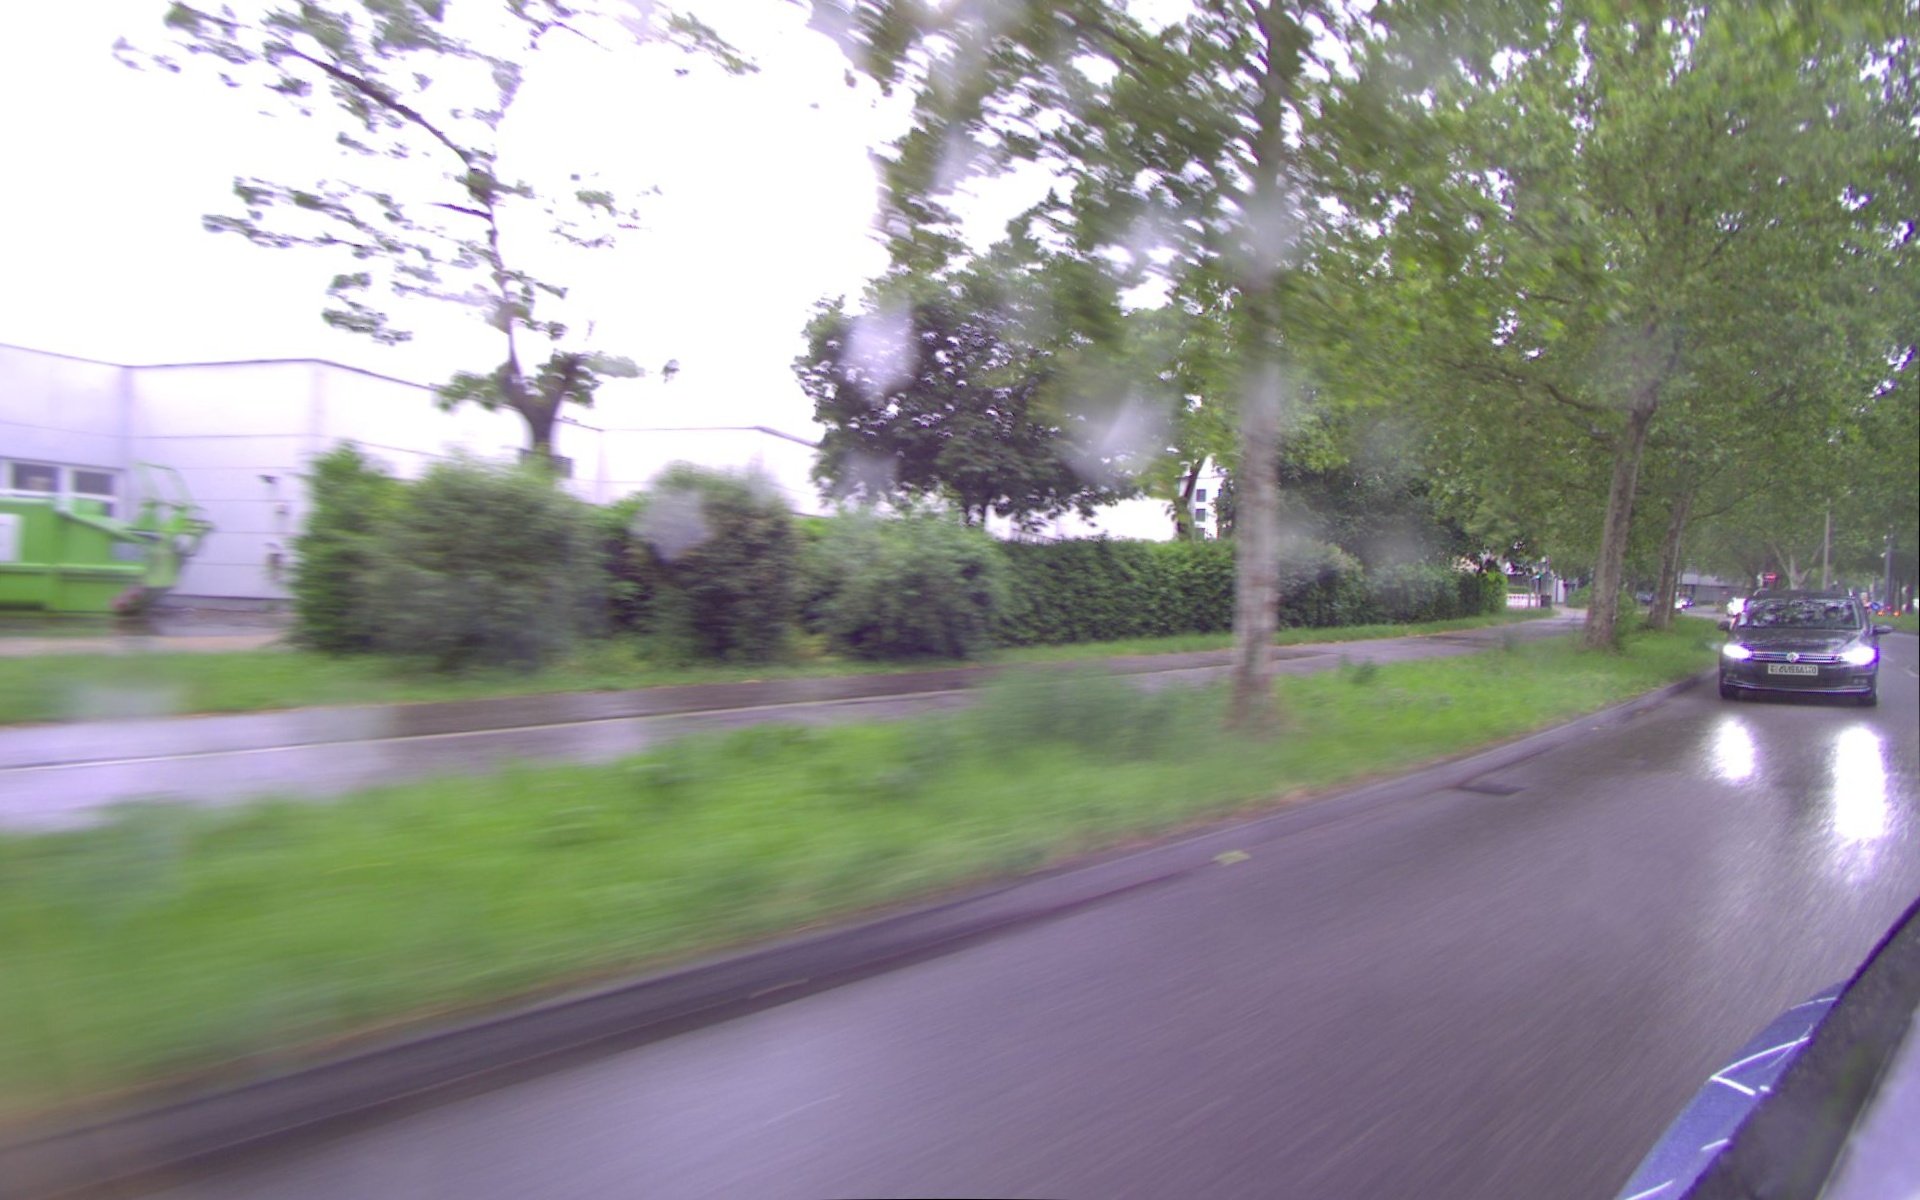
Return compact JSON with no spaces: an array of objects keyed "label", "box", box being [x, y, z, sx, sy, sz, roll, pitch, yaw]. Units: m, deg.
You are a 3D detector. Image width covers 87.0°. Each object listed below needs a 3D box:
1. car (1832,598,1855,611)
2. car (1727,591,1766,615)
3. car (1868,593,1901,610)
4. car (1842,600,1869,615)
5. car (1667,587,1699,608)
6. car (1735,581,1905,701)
[{"label":"car","box":[113.718,0.573,130.255,1.774,1.575,3.950,2,1,35]},{"label":"car","box":[54.037,0.181,69.572,1.773,1.575,3.951,2,1,34]},{"label":"car","box":[87.483,0.132,95.823,1.774,1.575,3.950,2,1,35]},{"label":"car","box":[100.261,0.826,113.338,1.774,1.575,3.950,2,1,35]},{"label":"car","box":[56.132,-0.196,78.589,1.772,1.575,3.953,2,1,33]},{"label":"car","box":[12.999,0.527,15.434,1.776,1.575,3.943,0,0,39]}]
